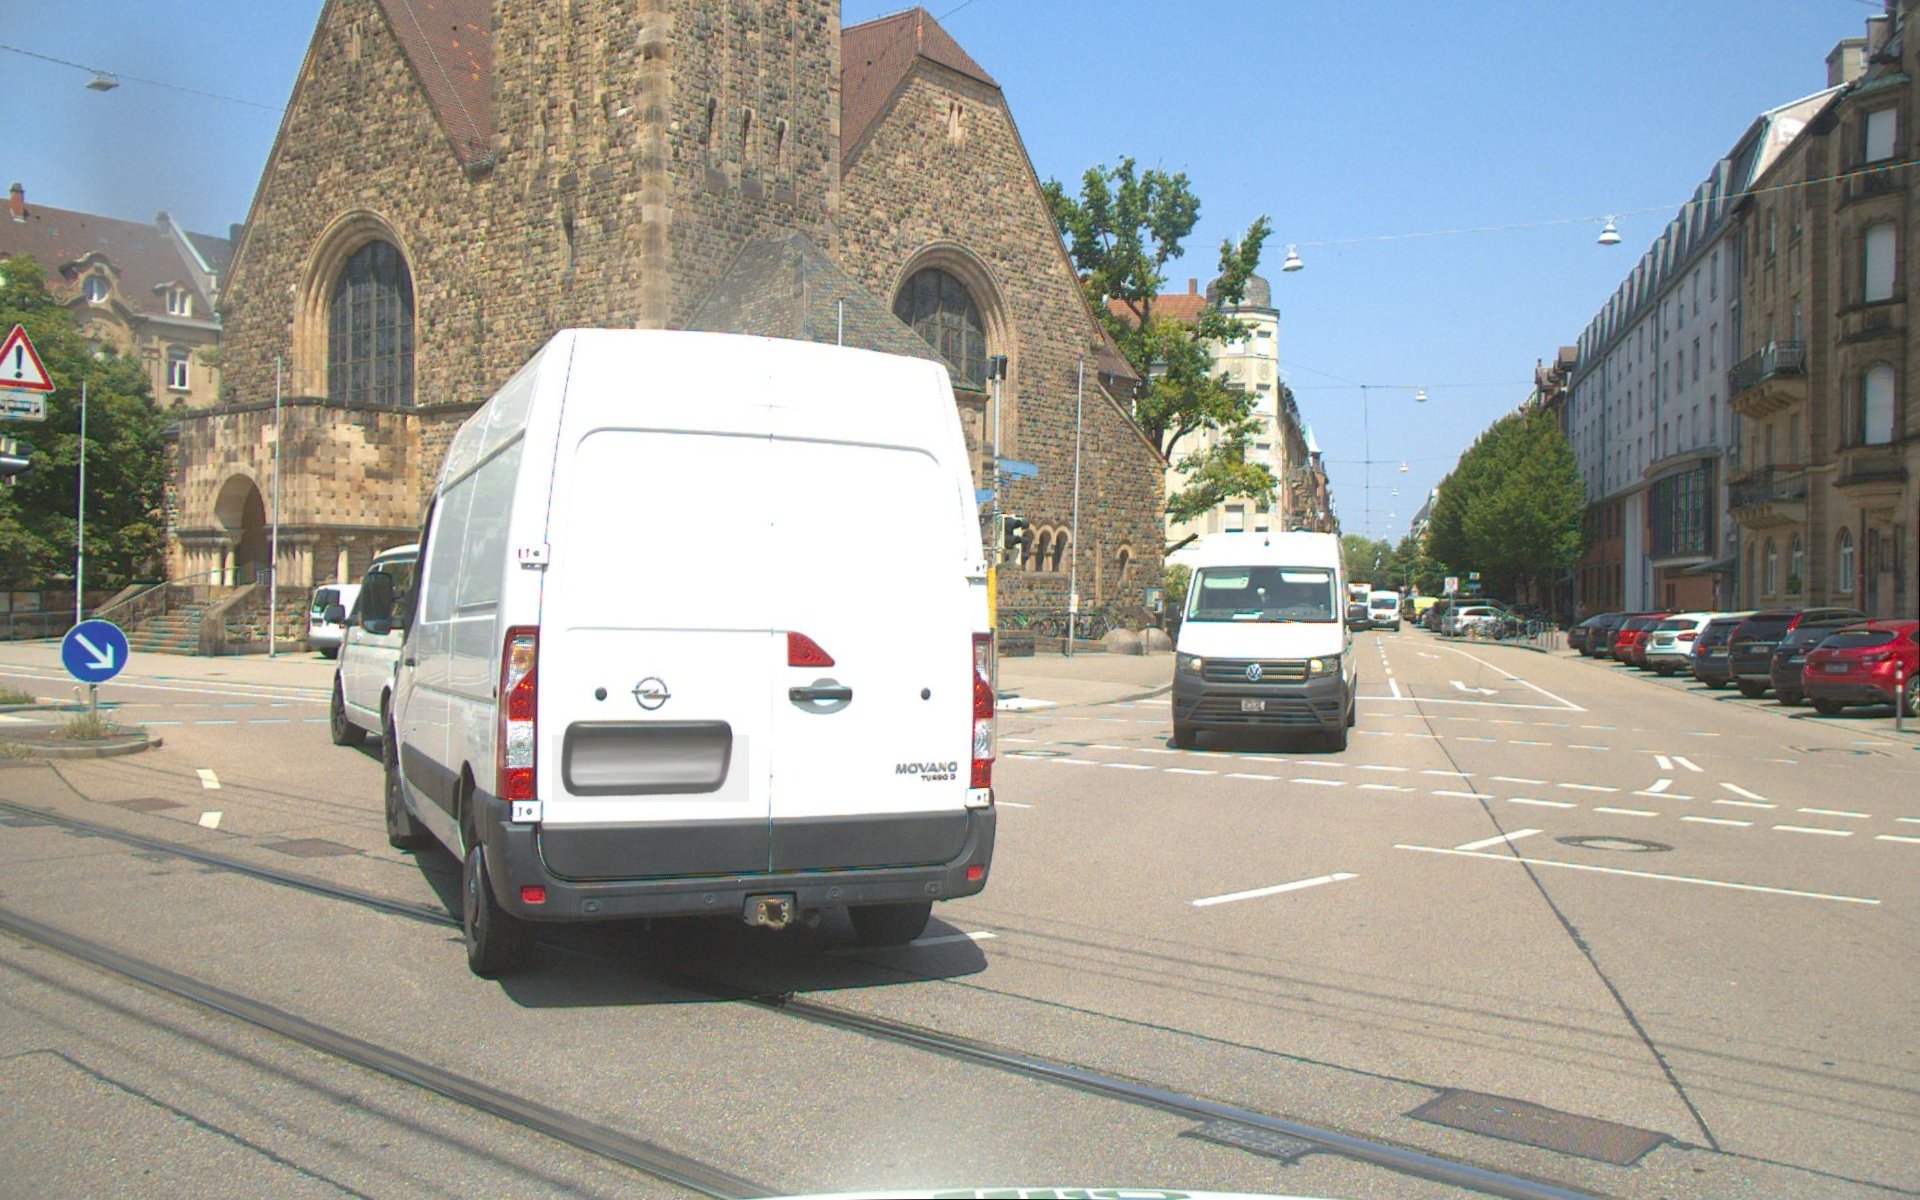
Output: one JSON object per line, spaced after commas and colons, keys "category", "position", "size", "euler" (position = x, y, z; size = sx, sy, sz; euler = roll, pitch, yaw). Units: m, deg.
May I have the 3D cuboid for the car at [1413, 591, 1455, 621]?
{"category": "car", "position": [29.286, 0.336, 102.351], "size": [1.912, 1.780, 4.003], "euler": [0, 0, 7]}

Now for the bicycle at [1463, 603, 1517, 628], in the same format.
{"category": "bicycle", "position": [26.167, 0.772, 81.684], "size": [2.542, 1.195, 0.681], "euler": [0, 0, -9]}

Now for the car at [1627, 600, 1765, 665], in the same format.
{"category": "car", "position": [19.782, 0.874, 44.481], "size": [3.170, 1.602, 1.606], "euler": [-2, -1, -21]}

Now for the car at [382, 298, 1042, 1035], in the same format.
{"category": "car", "position": [-1.623, 0.233, 8.358], "size": [2.089, 2.502, 5.017], "euler": [0, 0, -24]}

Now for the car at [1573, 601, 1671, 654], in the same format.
{"category": "car", "position": [21.610, 0.896, 53.975], "size": [3.191, 1.602, 1.477], "euler": [-1, -2, -37]}

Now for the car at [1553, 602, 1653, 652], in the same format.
{"category": "car", "position": [22.134, 0.917, 56.926], "size": [3.185, 1.602, 1.599], "euler": [-1, -2, -32]}

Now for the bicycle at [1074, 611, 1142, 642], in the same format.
{"category": "bicycle", "position": [5.216, 0.927, 58.485], "size": [2.453, 1.029, 0.702], "euler": [0, 0, 41]}

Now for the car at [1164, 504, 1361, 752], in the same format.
{"category": "car", "position": [4.081, 0.285, 21.337], "size": [2.026, 2.683, 6.639], "euler": [0, 0, 14]}

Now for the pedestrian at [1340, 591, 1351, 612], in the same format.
{"category": "pedestrian", "position": [26.662, 0.134, 114.470], "size": [0.714, 1.445, 0.799], "euler": [0, 0, 12]}

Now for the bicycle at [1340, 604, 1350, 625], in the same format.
{"category": "bicycle", "position": [26.621, 1.005, 114.413], "size": [0.658, 1.383, 2.071], "euler": [0, 0, 12]}

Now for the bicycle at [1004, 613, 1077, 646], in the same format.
{"category": "bicycle", "position": [2.609, 0.947, 53.762], "size": [2.453, 1.029, 0.702], "euler": [0, 0, 41]}

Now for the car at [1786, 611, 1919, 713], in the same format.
{"category": "car", "position": [15.236, 0.958, 26.718], "size": [3.167, 1.505, 1.608], "euler": [-2, -1, -19]}

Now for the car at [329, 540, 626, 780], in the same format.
{"category": "car", "position": [-4.765, 0.501, 15.914], "size": [1.895, 1.978, 4.223], "euler": [0, 0, -29]}

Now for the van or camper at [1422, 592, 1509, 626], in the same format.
{"category": "van or camper", "position": [28.123, 0.486, 92.017], "size": [4.237, 1.870, 1.994], "euler": [0, 0, -13]}

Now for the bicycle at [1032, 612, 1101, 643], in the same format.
{"category": "bicycle", "position": [3.631, 0.932, 56.722], "size": [2.453, 1.029, 0.702], "euler": [0, 0, 41]}

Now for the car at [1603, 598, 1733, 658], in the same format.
{"category": "car", "position": [20.314, 0.808, 47.461], "size": [3.170, 1.602, 1.606], "euler": [-2, -1, -21]}

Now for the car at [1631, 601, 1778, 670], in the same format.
{"category": "car", "position": [18.896, 0.904, 41.994], "size": [3.171, 1.602, 1.606], "euler": [-2, -1, -22]}

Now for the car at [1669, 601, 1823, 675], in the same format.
{"category": "car", "position": [18.539, 0.882, 39.011], "size": [3.176, 1.602, 1.603], "euler": [-2, -1, -26]}

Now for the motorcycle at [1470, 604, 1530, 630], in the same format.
{"category": "motorcycle", "position": [25.387, 0.783, 77.769], "size": [2.652, 1.195, 0.776], "euler": [0, 0, 17]}

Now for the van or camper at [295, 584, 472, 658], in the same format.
{"category": "van or camper", "position": [-15.006, 0.538, 43.178], "size": [1.960, 1.839, 3.985], "euler": [0, 0, 36]}

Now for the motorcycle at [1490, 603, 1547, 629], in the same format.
{"category": "motorcycle", "position": [26.426, 0.760, 78.309], "size": [2.535, 1.195, 0.683], "euler": [0, 0, 17]}

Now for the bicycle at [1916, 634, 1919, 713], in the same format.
{"category": "bicycle", "position": [15.112, 1.075, 24.275], "size": [1.761, 1.171, 0.566], "euler": [-1, -1, 9]}

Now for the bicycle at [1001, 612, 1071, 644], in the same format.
{"category": "bicycle", "position": [2.543, 0.938, 55.391], "size": [2.453, 1.029, 0.702], "euler": [0, 0, 41]}

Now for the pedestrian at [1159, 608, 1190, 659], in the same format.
{"category": "pedestrian", "position": [6.726, 1.039, 51.872], "size": [0.705, 1.586, 0.790], "euler": [0, -1, 32]}

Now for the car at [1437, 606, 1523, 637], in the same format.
{"category": "car", "position": [26.977, 1.115, 85.793], "size": [3.914, 1.576, 1.746], "euler": [0, 0, -10]}

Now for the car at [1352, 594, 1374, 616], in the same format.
{"category": "car", "position": [38.209, 0.456, 156.812], "size": [1.951, 2.049, 4.003], "euler": [0, 0, 16]}

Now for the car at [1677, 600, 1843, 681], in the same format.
{"category": "car", "position": [17.408, 0.870, 35.988], "size": [3.176, 1.602, 1.603], "euler": [-2, -1, -26]}

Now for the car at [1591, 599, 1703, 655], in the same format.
{"category": "car", "position": [21.366, 0.844, 51.445], "size": [3.182, 1.602, 1.600], "euler": [-1, -2, -30]}

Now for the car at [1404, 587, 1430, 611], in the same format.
{"category": "car", "position": [39.468, -0.065, 142.789], "size": [1.867, 2.049, 4.001], "euler": [-1, -1, 20]}

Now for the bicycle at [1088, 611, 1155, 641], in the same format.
{"category": "bicycle", "position": [5.785, 0.928, 59.282], "size": [2.453, 1.029, 0.702], "euler": [0, 0, 41]}

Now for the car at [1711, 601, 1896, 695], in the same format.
{"category": "car", "position": [16.592, 0.935, 32.534], "size": [3.176, 1.694, 1.603], "euler": [-2, -1, -26]}

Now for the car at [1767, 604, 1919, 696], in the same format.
{"category": "car", "position": [16.210, 0.867, 29.520], "size": [3.176, 1.505, 1.603], "euler": [-2, -1, -26]}

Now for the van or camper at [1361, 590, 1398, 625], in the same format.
{"category": "van or camper", "position": [26.574, 0.475, 104.885], "size": [1.992, 2.179, 4.584], "euler": [0, 0, 11]}
